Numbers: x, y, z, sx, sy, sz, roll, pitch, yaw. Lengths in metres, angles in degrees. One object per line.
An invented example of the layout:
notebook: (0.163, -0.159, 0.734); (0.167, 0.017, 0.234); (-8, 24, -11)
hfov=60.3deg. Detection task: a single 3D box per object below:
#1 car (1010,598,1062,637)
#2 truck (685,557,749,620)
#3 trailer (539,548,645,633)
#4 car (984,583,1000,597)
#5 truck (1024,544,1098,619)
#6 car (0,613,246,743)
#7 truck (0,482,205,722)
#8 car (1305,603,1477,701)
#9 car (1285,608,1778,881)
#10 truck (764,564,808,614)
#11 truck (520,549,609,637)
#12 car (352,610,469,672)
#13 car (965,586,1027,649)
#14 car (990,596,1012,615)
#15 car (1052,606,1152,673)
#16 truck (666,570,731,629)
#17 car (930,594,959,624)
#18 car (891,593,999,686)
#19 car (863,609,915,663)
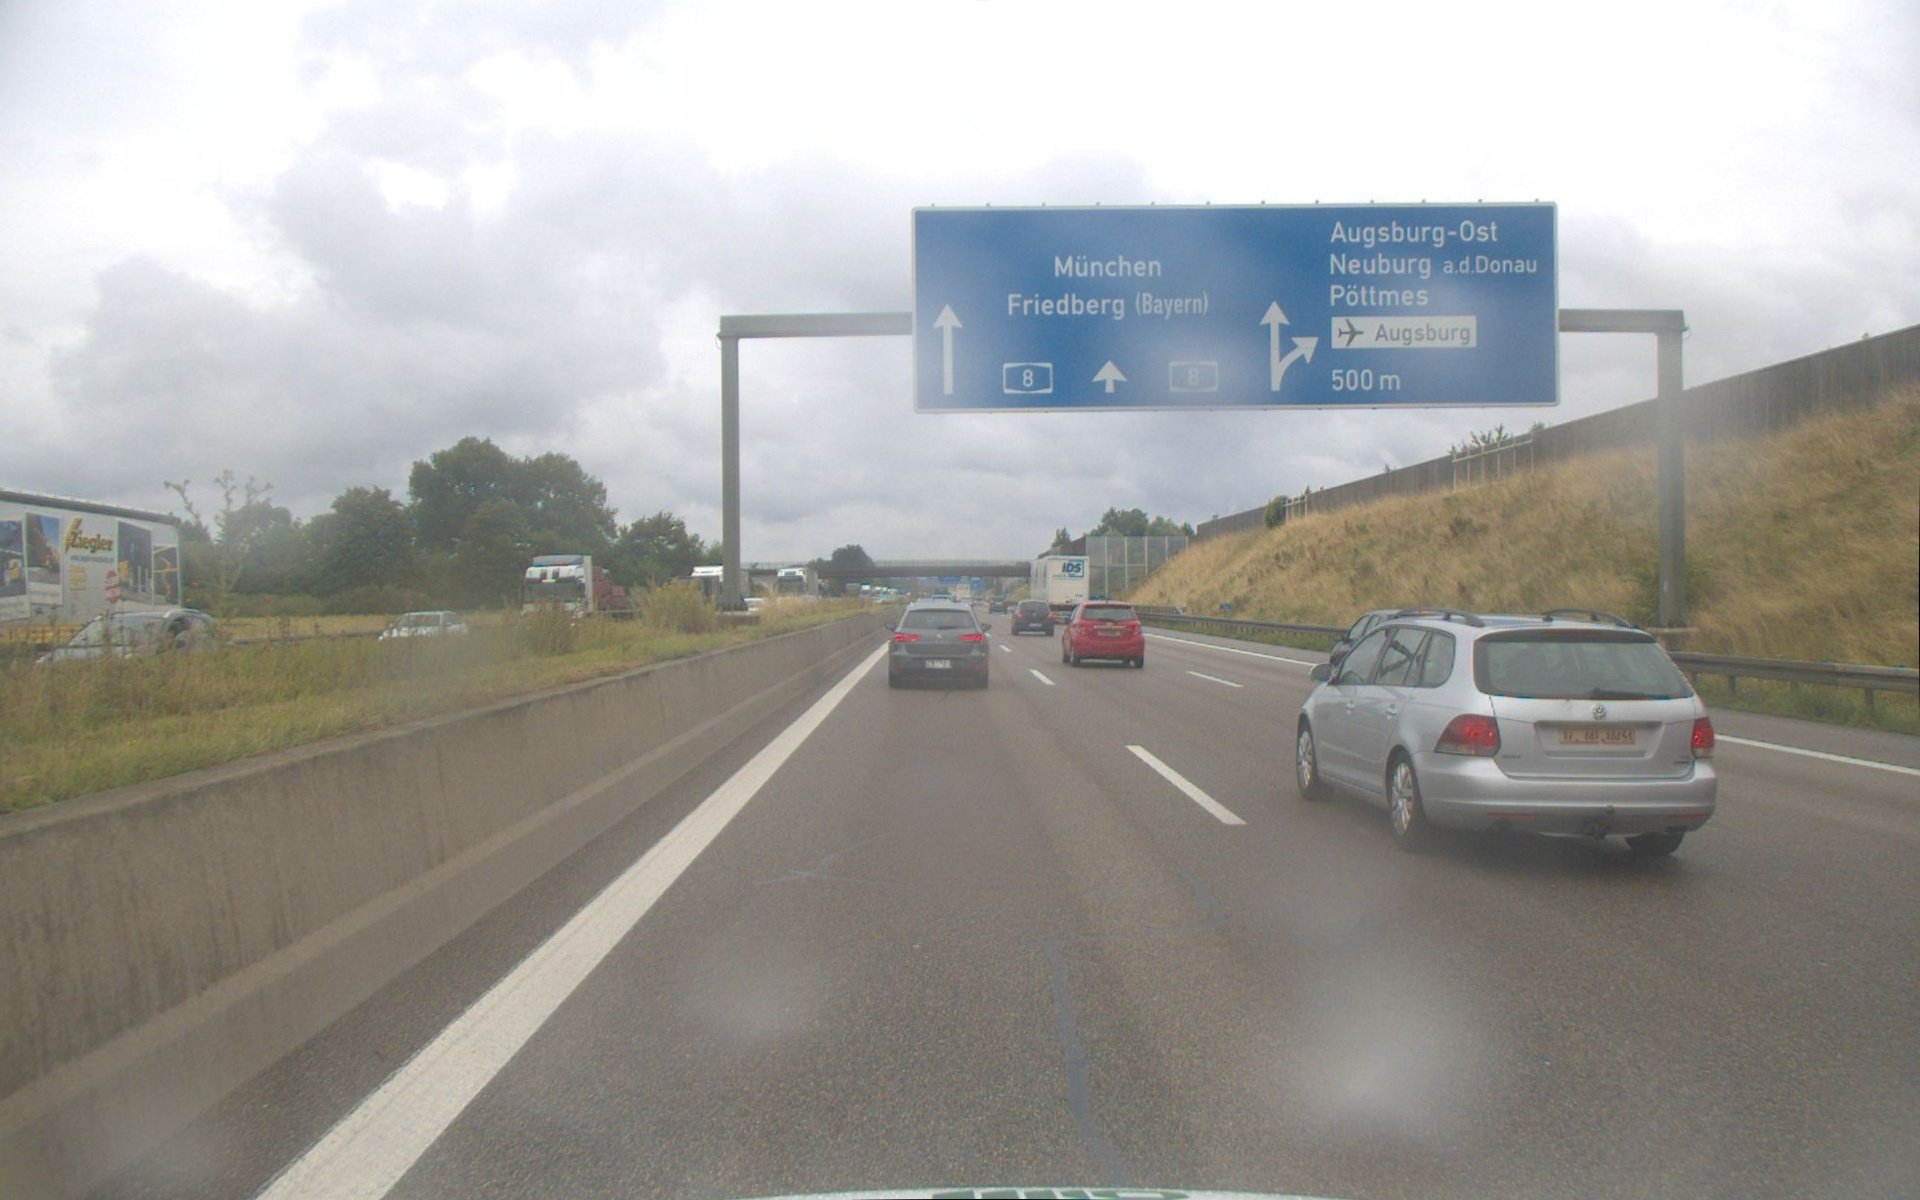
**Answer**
car: (3.163, 0.721, 69.682); (1.882, 1.548, 4.621); (0, 0, -1)
truck: (-17.625, -0.774, 120.473); (3.542, 4.349, 7.590); (1, 0, -1)
trailer: (-17.861, -0.562, 81.151); (2.587, 3.790, 12.192); (1, 1, -1)
car: (4.367, -1.307, 226.873); (1.953, 1.843, 4.227); (-2, 0, -1)
truck: (6.355, -1.017, 107.109); (3.217, 4.370, 19.028); (1, 0, -1)
car: (-12.521, 1.101, 25.020); (1.718, 1.737, 3.999); (-1, 0, -1)
truck: (-20.159, 0.031, 34.846); (3.442, 4.562, 11.781); (1, 0, -2)
car: (6.827, 0.791, 26.582); (1.668, 1.426, 3.874); (1, 0, -1)
car: (3.574, 0.798, 11.303); (1.706, 1.450, 4.515); (0, 0, -2)
truck: (-14.705, -0.862, 139.861); (3.029, 4.045, 6.370); (1, 0, -1)
truck: (-17.796, -0.355, 74.744); (2.587, 3.790, 5.871); (1, 1, -1)
car: (-16.701, 1.209, 50.536); (1.953, 1.747, 4.836); (1, 0, -1)
car: (1.100, 0.537, 52.634); (1.789, 1.882, 3.999); (-1, 0, -1)
car: (3.896, 0.516, 157.735); (1.808, 1.716, 3.998); (1, 0, -2)
car: (3.309, 0.892, 39.476); (1.853, 1.472, 4.683); (0, 0, -2)
truck: (-13.846, -0.024, 88.105); (2.264, 2.959, 7.422); (1, 0, -1)
car: (-1.007, 0.553, 106.567); (1.670, 1.828, 3.853); (-2, 0, -3)
car: (-0.321, 0.660, 29.038); (1.733, 1.493, 3.998); (1, 0, -2)
car: (-2.439, 1.237, 57.790); (1.719, 1.780, 3.999); (1, 0, -2)
